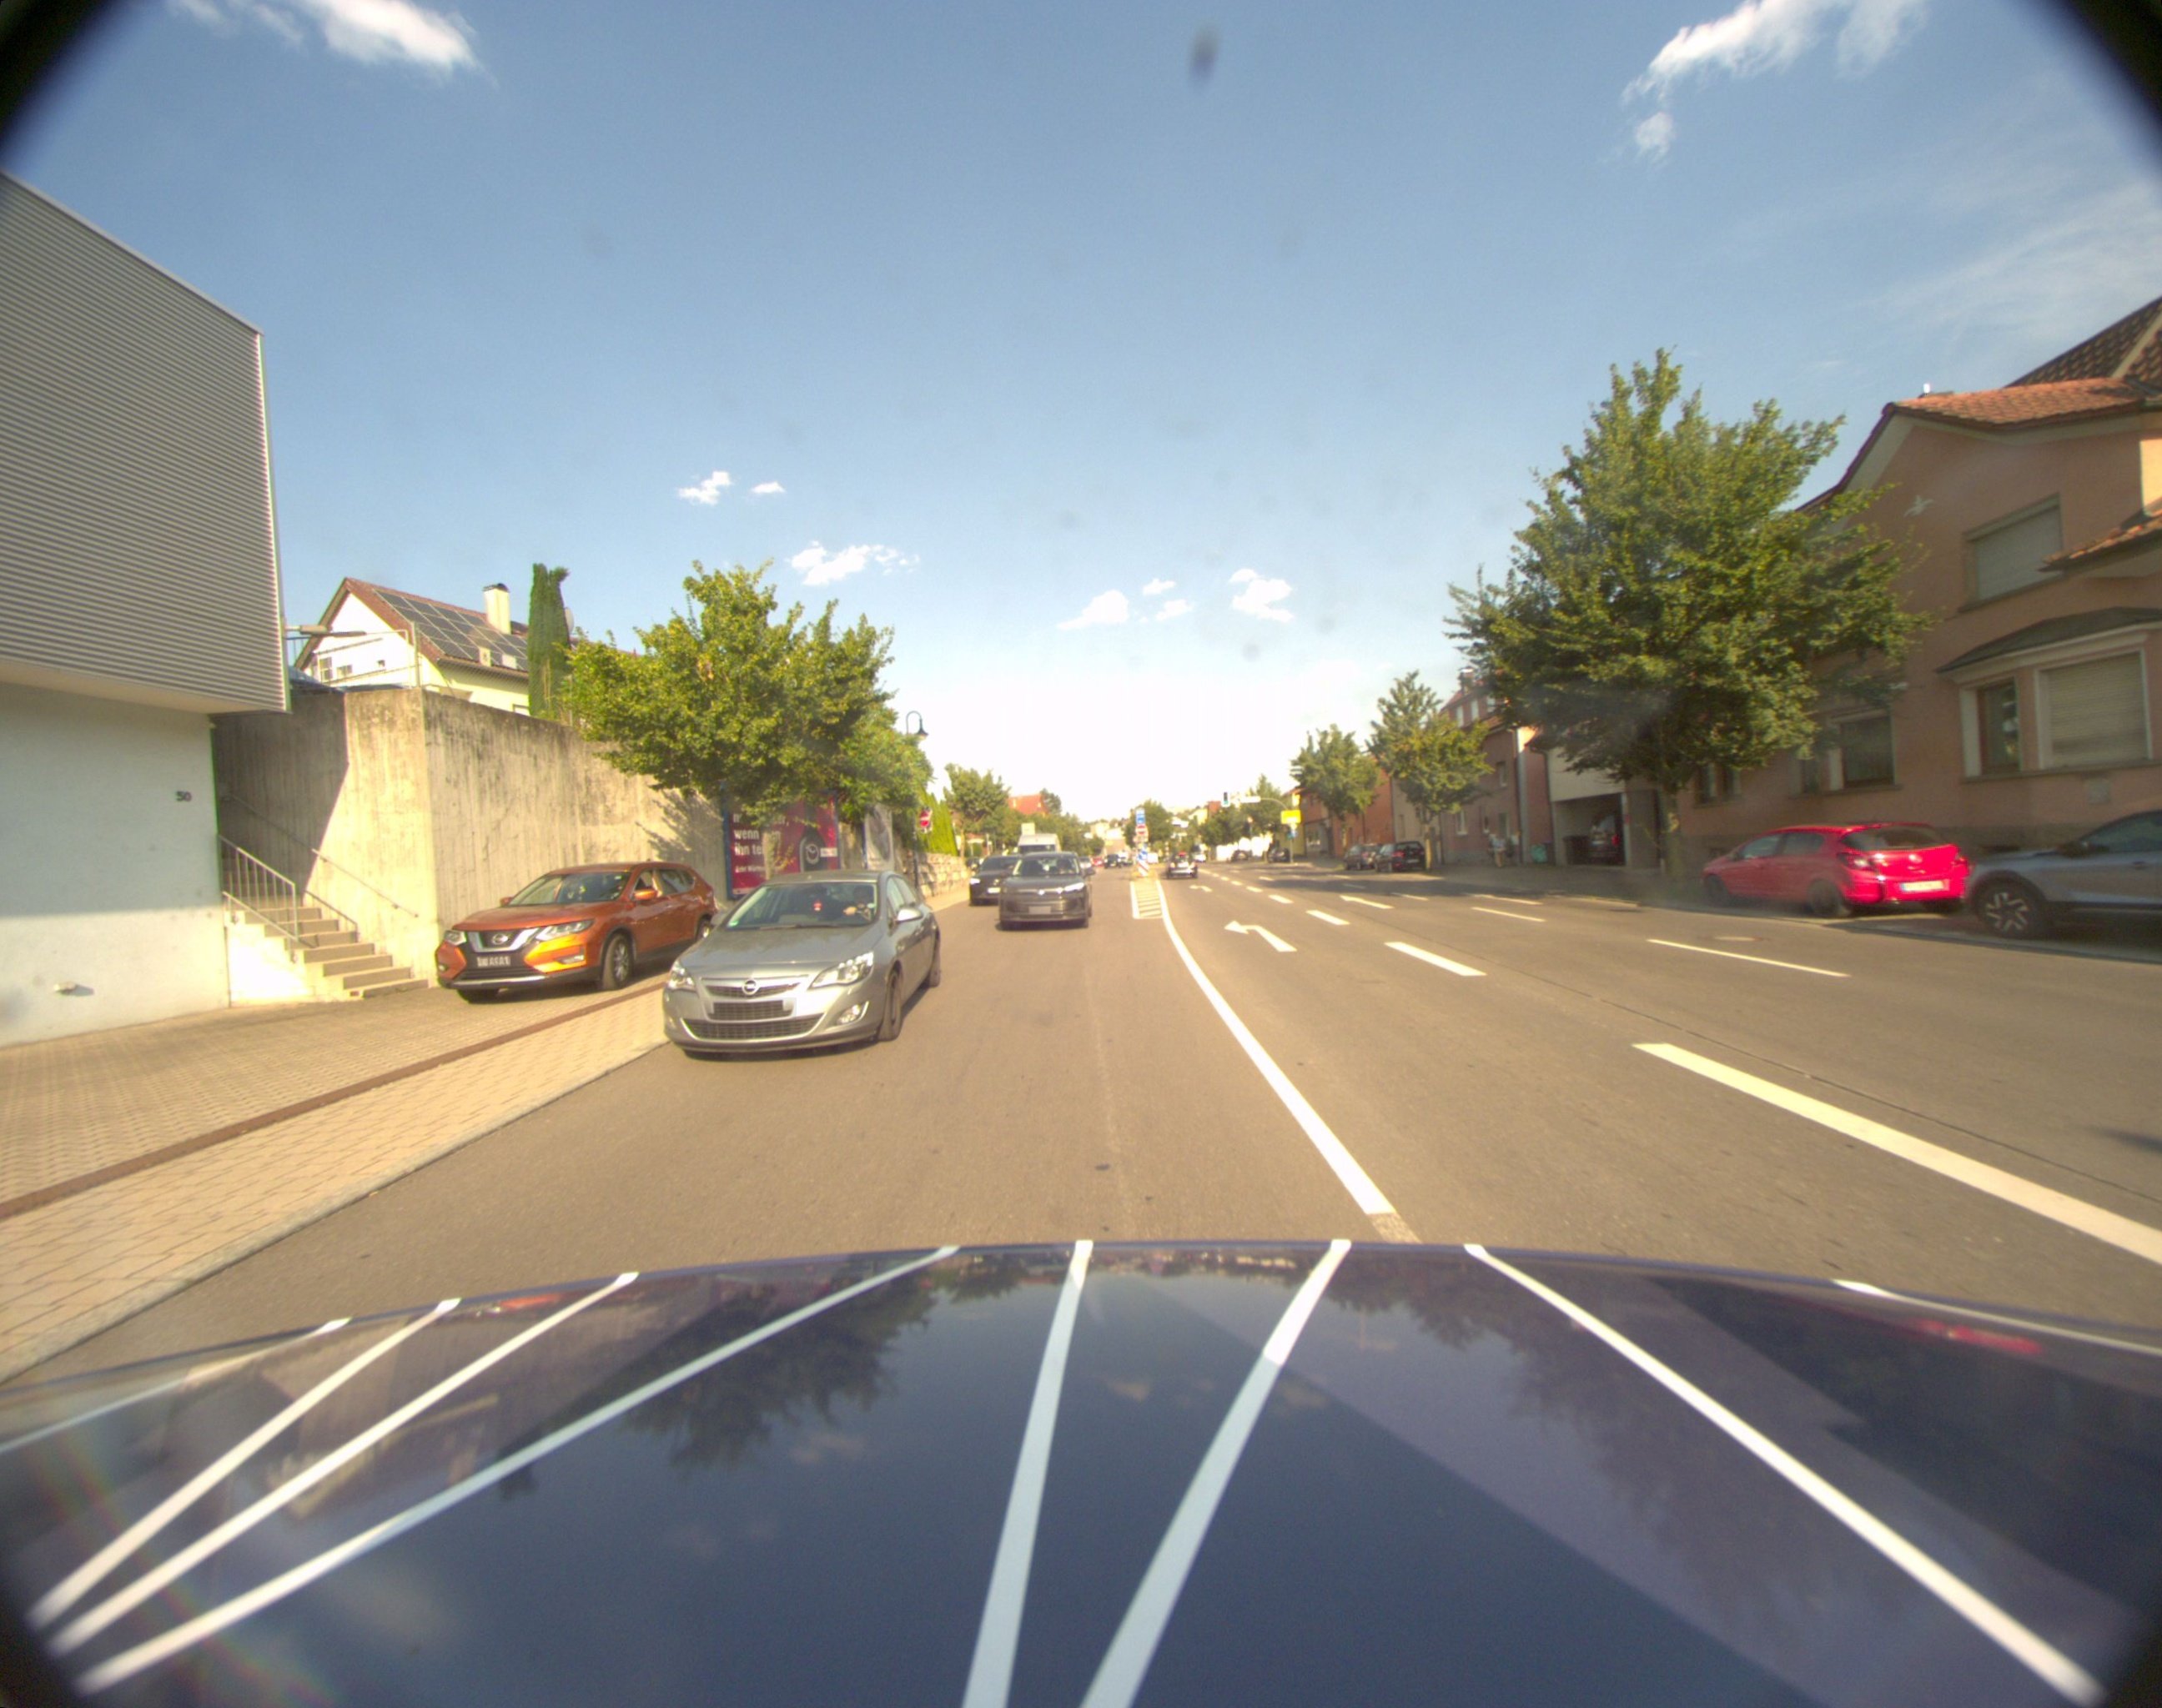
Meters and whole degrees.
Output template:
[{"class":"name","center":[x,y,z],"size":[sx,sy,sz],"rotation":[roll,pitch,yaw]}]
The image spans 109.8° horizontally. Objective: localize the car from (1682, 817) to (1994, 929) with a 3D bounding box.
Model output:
[{"class":"car","center":[12.529,0.256,13.003],"size":[1.669,1.478,4.002],"rotation":[-6,0,9]}]

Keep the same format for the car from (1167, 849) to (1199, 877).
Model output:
[{"class":"car","center":[5.681,0.481,42.674],"size":[1.535,1.453,3.507],"rotation":[-3,0,5]}]

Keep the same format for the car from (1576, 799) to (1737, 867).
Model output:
[{"class":"car","center":[19.127,-0.671,25.405],"size":[3.829,1.870,1.780],"rotation":[-5,0,6]}]

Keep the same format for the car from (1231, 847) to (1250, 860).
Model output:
[{"class":"car","center":[20.418,-0.084,97.451],"size":[1.859,1.586,4.462],"rotation":[-3,0,6]}]

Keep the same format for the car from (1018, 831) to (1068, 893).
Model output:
[{"class":"car","center":[-1.722,0.385,37.059],"size":[2.040,2.642,6.649],"rotation":[-4,0,-1]}]

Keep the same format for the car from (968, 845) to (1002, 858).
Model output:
[{"class":"car","center":[-12.703,-0.334,100.472],"size":[4.072,1.447,1.681],"rotation":[-3,0,16]}]

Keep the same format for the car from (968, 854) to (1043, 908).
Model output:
[{"class":"car","center":[-2.438,0.833,25.490],"size":[1.791,1.596,4.058],"rotation":[-2,0,4]}]

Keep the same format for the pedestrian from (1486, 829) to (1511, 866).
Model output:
[{"class":"pedestrian","center":[18.379,-0.292,33.468],"size":[0.777,1.598,0.723],"rotation":[-2,1,15]}]

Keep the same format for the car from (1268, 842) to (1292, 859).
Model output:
[{"class":"car","center":[18.820,-0.321,71.911],"size":[1.595,1.430,3.777],"rotation":[-7,-1,8]}]

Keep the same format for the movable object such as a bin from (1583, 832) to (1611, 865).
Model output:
[{"class":"movable object such as a bin","center":[18.775,-0.200,27.647],"size":[0.567,1.136,0.576],"rotation":[-3,0,-1]}]

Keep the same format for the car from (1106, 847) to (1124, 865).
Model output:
[{"class":"car","center":[3.982,0.227,87.924],"size":[1.815,1.861,4.002],"rotation":[-3,0,6]}]

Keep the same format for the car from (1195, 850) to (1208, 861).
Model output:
[{"class":"car","center":[19.301,0.221,122.013],"size":[1.689,1.602,4.414],"rotation":[-3,0,4]}]

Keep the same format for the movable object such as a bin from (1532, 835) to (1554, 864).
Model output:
[{"class":"movable object such as a bin","center":[18.497,-0.164,30.427],"size":[0.552,1.136,0.530],"rotation":[-3,0,7]}]

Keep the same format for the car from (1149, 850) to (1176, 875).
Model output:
[{"class":"car","center":[5.282,0.528,49.302],"size":[1.592,1.419,3.579],"rotation":[-2,1,6]}]

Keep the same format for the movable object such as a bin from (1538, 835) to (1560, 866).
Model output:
[{"class":"movable object such as a bin","center":[17.701,-0.142,28.746],"size":[0.476,1.130,0.501],"rotation":[-3,0,4]}]

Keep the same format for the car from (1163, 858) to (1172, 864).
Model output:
[{"class":"car","center":[21.062,1.602,184.686],"size":[1.761,1.403,4.001],"rotation":[-3,0,3]}]

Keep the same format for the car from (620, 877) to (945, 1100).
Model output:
[{"class":"car","center":[-2.453,0.999,7.395],"size":[1.652,1.414,4.143],"rotation":[-1,0,-3]}]

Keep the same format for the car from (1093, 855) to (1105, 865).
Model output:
[{"class":"car","center":[2.779,0.931,115.762],"size":[1.529,1.353,2.794],"rotation":[-3,0,7]}]

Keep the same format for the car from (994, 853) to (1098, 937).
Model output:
[{"class":"car","center":[-0.650,0.817,17.007],"size":[1.767,1.582,4.058],"rotation":[-3,0,4]}]

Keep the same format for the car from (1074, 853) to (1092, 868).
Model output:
[{"class":"car","center":[0.205,0.626,76.440],"size":[1.515,1.353,2.956],"rotation":[-3,0,4]}]

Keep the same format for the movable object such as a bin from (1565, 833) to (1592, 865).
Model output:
[{"class":"movable object such as a bin","center":[18.046,-0.179,27.577],"size":[0.567,1.136,0.576],"rotation":[-3,0,-1]}]

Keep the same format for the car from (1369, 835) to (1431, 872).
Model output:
[{"class":"car","center":[15.247,-0.024,36.529],"size":[1.669,1.523,3.905],"rotation":[-5,0,8]}]

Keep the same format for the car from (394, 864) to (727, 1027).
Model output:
[{"class":"car","center":[-6.779,1.029,10.649],"size":[1.840,1.640,4.536],"rotation":[-3,0,-6]}]

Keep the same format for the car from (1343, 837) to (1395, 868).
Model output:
[{"class":"car","center":[15.962,-0.077,42.310],"size":[1.515,1.501,3.886],"rotation":[-4,0,3]}]

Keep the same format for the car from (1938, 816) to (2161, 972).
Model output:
[{"class":"car","center":[11.762,0.376,7.769],"size":[1.759,1.470,4.003],"rotation":[-6,-1,9]}]
